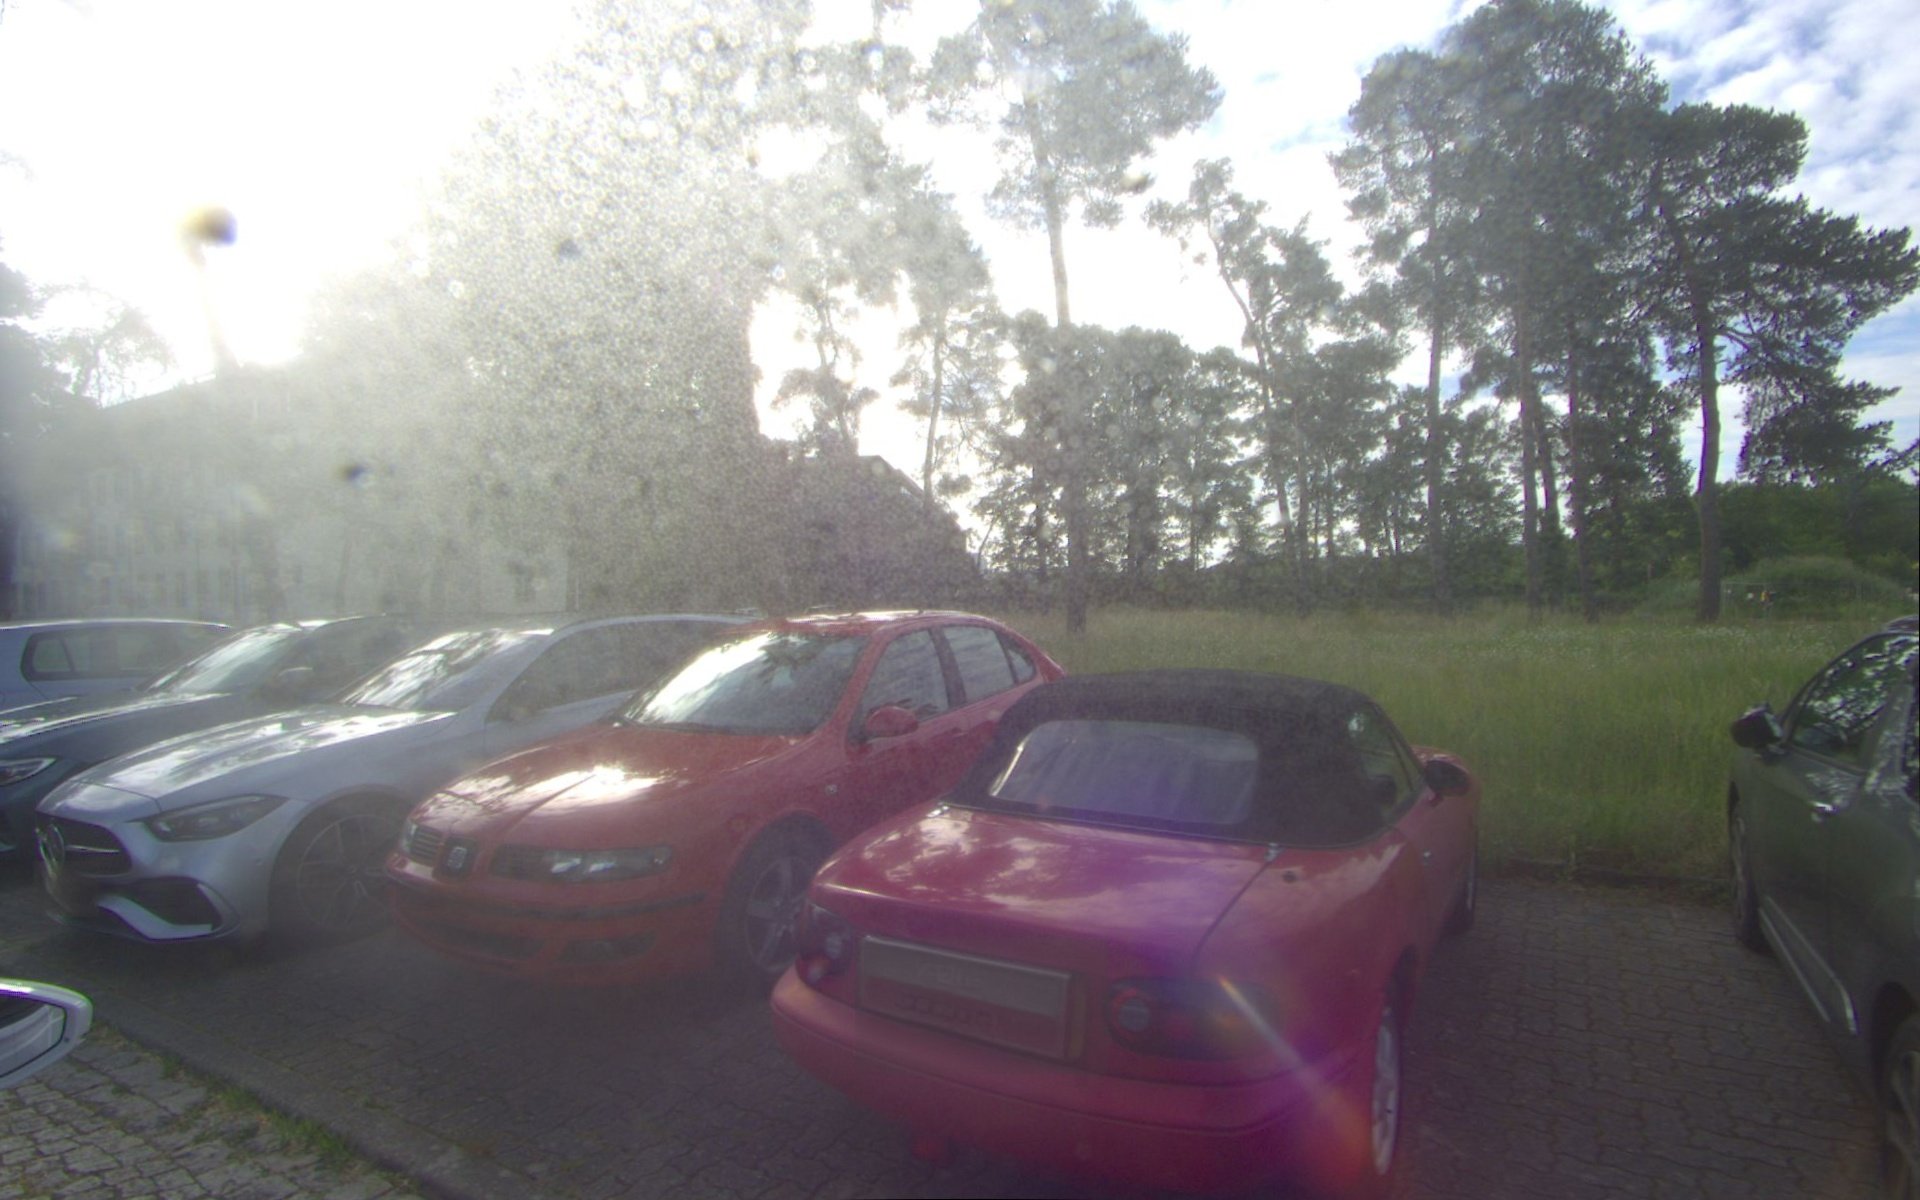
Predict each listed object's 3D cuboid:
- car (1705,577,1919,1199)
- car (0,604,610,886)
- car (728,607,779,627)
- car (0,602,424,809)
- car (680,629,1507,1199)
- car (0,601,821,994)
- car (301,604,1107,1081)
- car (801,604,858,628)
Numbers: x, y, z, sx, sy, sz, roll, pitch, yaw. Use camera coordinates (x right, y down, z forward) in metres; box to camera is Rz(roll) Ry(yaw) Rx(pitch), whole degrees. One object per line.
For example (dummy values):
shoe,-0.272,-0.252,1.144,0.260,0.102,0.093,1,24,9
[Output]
car,3.254,0.699,2.723,1.581,1.523,3.821,-1,0,31
car,-5.080,0.811,7.658,1.780,1.503,4.508,-1,0,29
car,-15.662,1.311,76.206,1.541,1.416,3.982,-1,-2,31
car,-7.216,0.808,9.094,1.617,1.490,3.835,-1,1,30
car,0.916,0.824,3.639,1.586,1.303,3.537,-2,-1,33
car,-2.890,0.779,6.185,1.740,1.448,4.318,-1,1,30
car,-0.830,0.769,5.294,1.695,1.442,4.099,-1,0,32
car,-9.223,1.113,70.915,3.923,1.622,1.999,-1,0,-6
